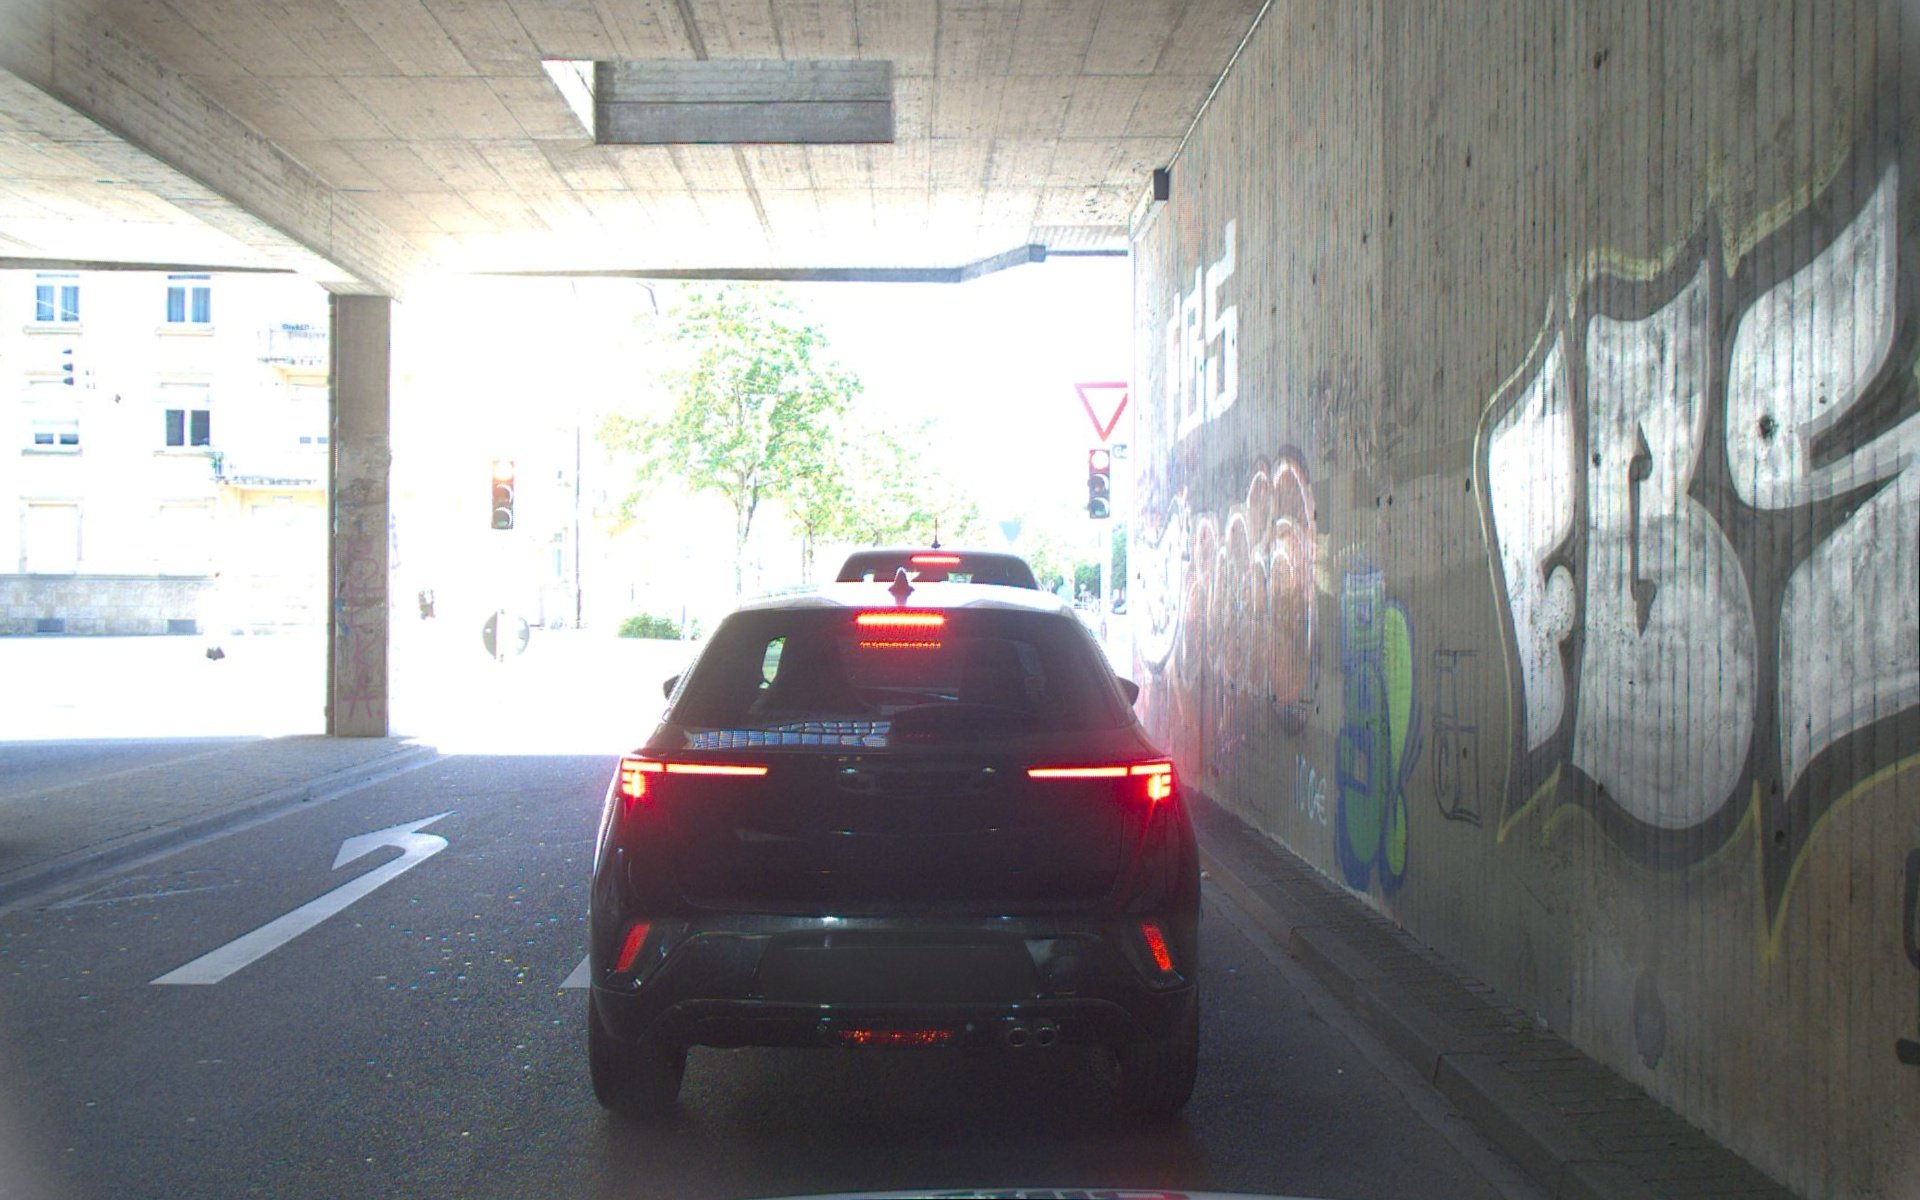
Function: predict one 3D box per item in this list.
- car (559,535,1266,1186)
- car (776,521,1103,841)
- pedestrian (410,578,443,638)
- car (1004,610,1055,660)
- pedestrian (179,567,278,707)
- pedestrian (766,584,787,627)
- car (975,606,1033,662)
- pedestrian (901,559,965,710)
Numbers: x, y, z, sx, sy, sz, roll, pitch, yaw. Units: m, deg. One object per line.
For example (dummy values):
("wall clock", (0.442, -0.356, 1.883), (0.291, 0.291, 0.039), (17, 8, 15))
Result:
("car", (-0.144, 0.606, 6.108), (1.729, 1.598, 4.000), (1, 1, -1))
("car", (-0.146, 0.473, 11.921), (1.953, 1.904, 3.999), (0, 0, -1))
("pedestrian", (-14.924, 0.218, 46.310), (0.658, 1.666, 0.740), (1, -1, -1))
("car", (2.922, 1.413, 68.487), (1.951, 2.004, 4.166), (1, 0, 4))
("pedestrian", (-9.612, 0.478, 21.763), (0.910, 1.792, 0.794), (1, -1, 1))
("pedestrian", (-9.077, 0.275, 81.843), (0.873, 2.124, 0.808), (1, -1, 7))
("car", (1.697, 1.243, 62.252), (1.951, 2.004, 4.166), (1, 0, 4))
("pedestrian", (-0.324, 0.413, 19.889), (0.716, 1.764, 0.874), (1, -1, -1))
